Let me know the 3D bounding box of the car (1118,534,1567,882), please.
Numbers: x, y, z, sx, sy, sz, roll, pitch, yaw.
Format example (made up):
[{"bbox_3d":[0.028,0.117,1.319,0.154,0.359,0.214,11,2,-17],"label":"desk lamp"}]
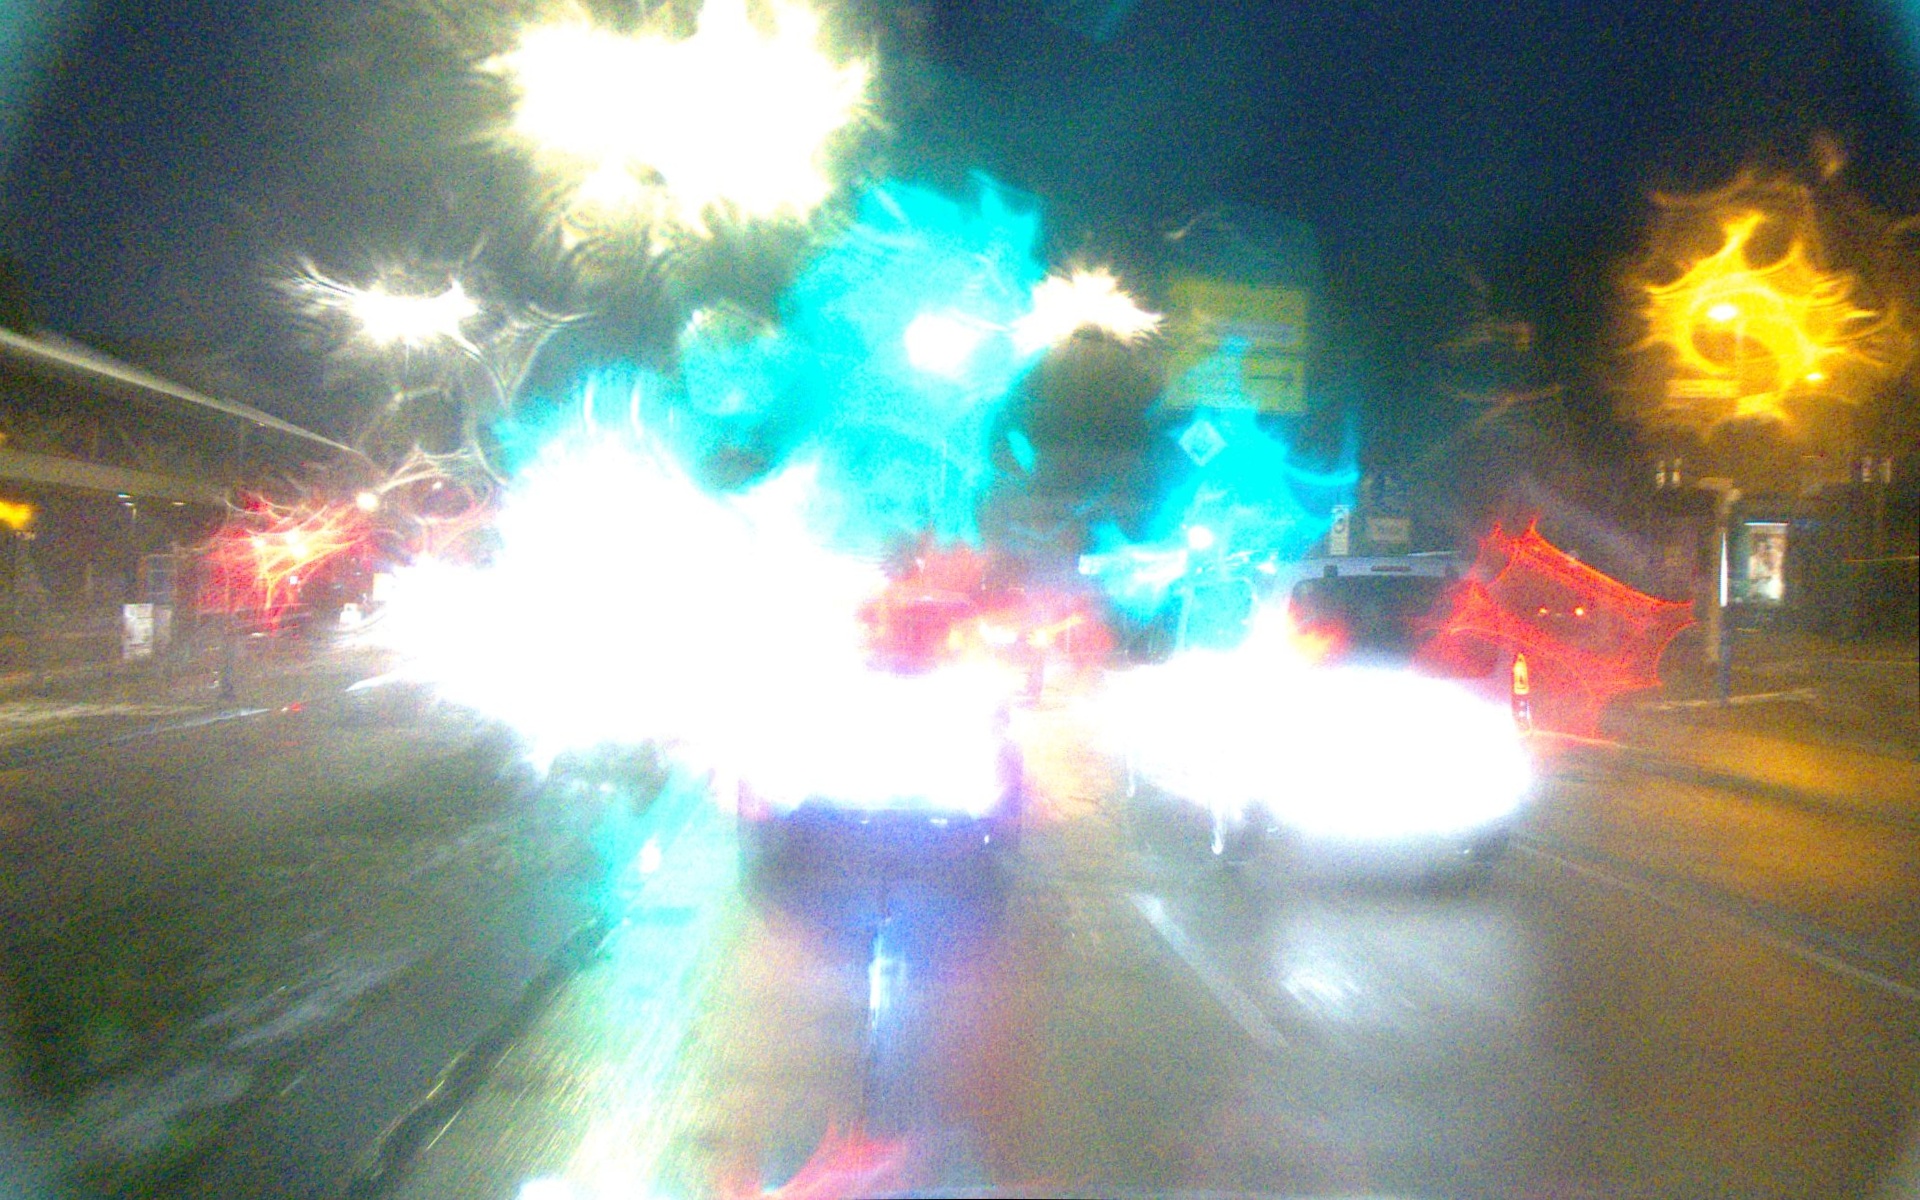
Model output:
[{"bbox_3d":[2.344,0.618,11.351,1.815,1.897,4.337,1,0,-4],"label":"car"}]

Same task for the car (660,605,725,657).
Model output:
[{"bbox_3d":[-9.728,1.105,60.035,1.960,1.763,3.985,1,0,-14],"label":"car"}]

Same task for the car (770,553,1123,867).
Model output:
[{"bbox_3d":[-0.228,0.640,11.606,1.975,1.747,4.447,1,0,-4],"label":"car"}]

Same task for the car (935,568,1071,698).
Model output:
[{"bbox_3d":[0.681,0.546,28.948,1.930,2.083,3.996,1,0,-5],"label":"car"}]

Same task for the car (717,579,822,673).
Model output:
[{"bbox_3d":[-4.518,0.595,38.691,1.959,2.049,3.986,1,0,-13],"label":"car"}]

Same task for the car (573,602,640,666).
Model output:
[{"bbox_3d":[-11.785,1.088,54.961,1.980,1.920,4.436,2,0,-14],"label":"car"}]

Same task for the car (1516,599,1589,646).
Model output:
[{"bbox_3d":[22.567,0.858,63.089,1.734,1.698,4.073,1,0,7],"label":"car"}]

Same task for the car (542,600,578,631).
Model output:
[{"bbox_3d":[-25.046,0.968,103.395,1.961,1.856,3.982,1,0,-16],"label":"car"}]

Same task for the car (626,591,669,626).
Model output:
[{"bbox_3d":[-17.076,0.453,90.279,1.961,1.852,3.983,1,0,-16],"label":"car"}]

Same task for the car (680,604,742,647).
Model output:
[{"bbox_3d":[-10.225,1.021,67.842,1.962,1.699,3.982,1,0,-17],"label":"car"}]
